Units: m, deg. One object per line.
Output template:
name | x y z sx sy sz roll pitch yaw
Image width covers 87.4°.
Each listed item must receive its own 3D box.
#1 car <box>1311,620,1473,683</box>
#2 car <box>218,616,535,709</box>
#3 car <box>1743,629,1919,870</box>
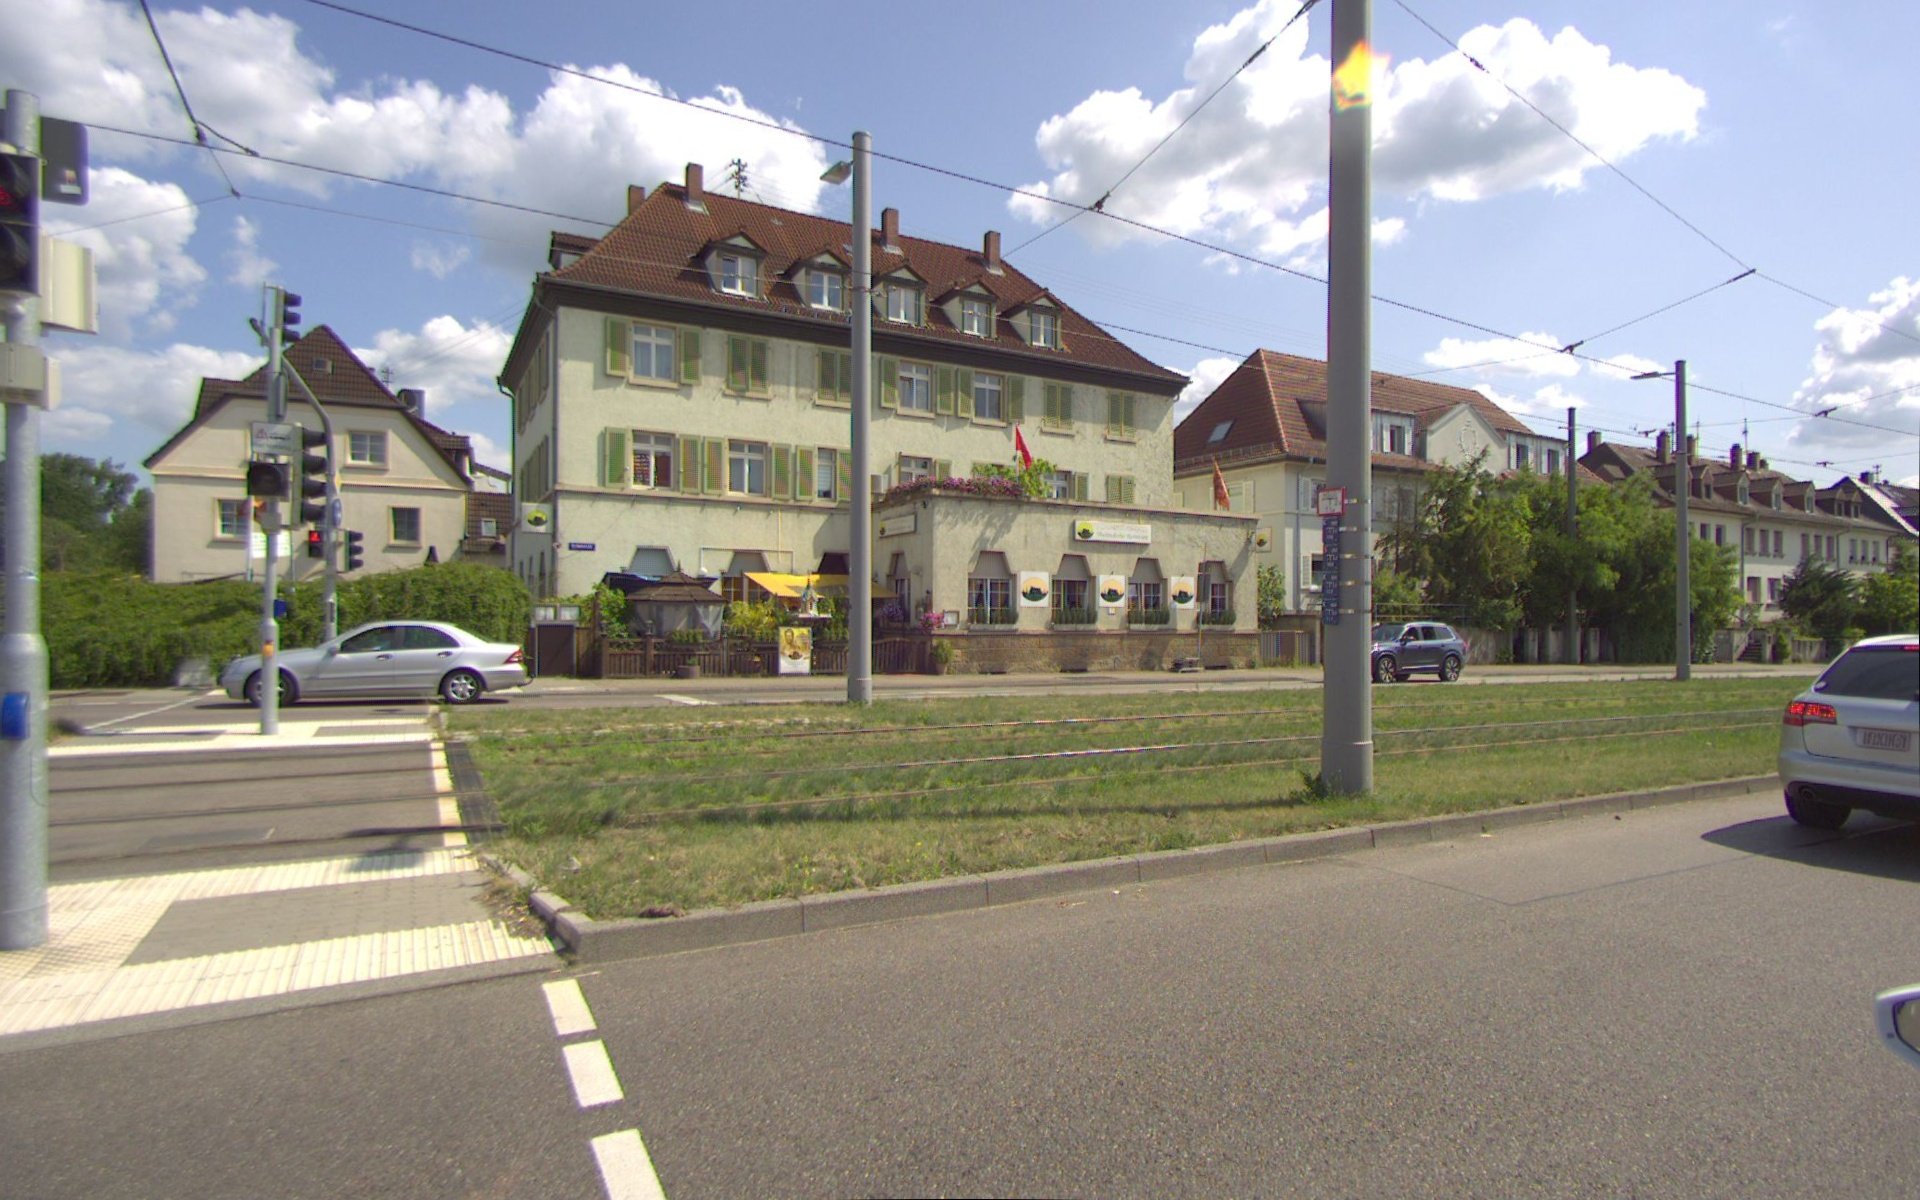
car | 12.942 1.521 29.990 4.880 1.734 2.005 2 -2 -31
car | -9.702 1.028 17.066 4.417 1.405 1.787 2 -2 -29
car | 8.008 0.989 7.550 4.667 1.491 1.785 1 0 -31
